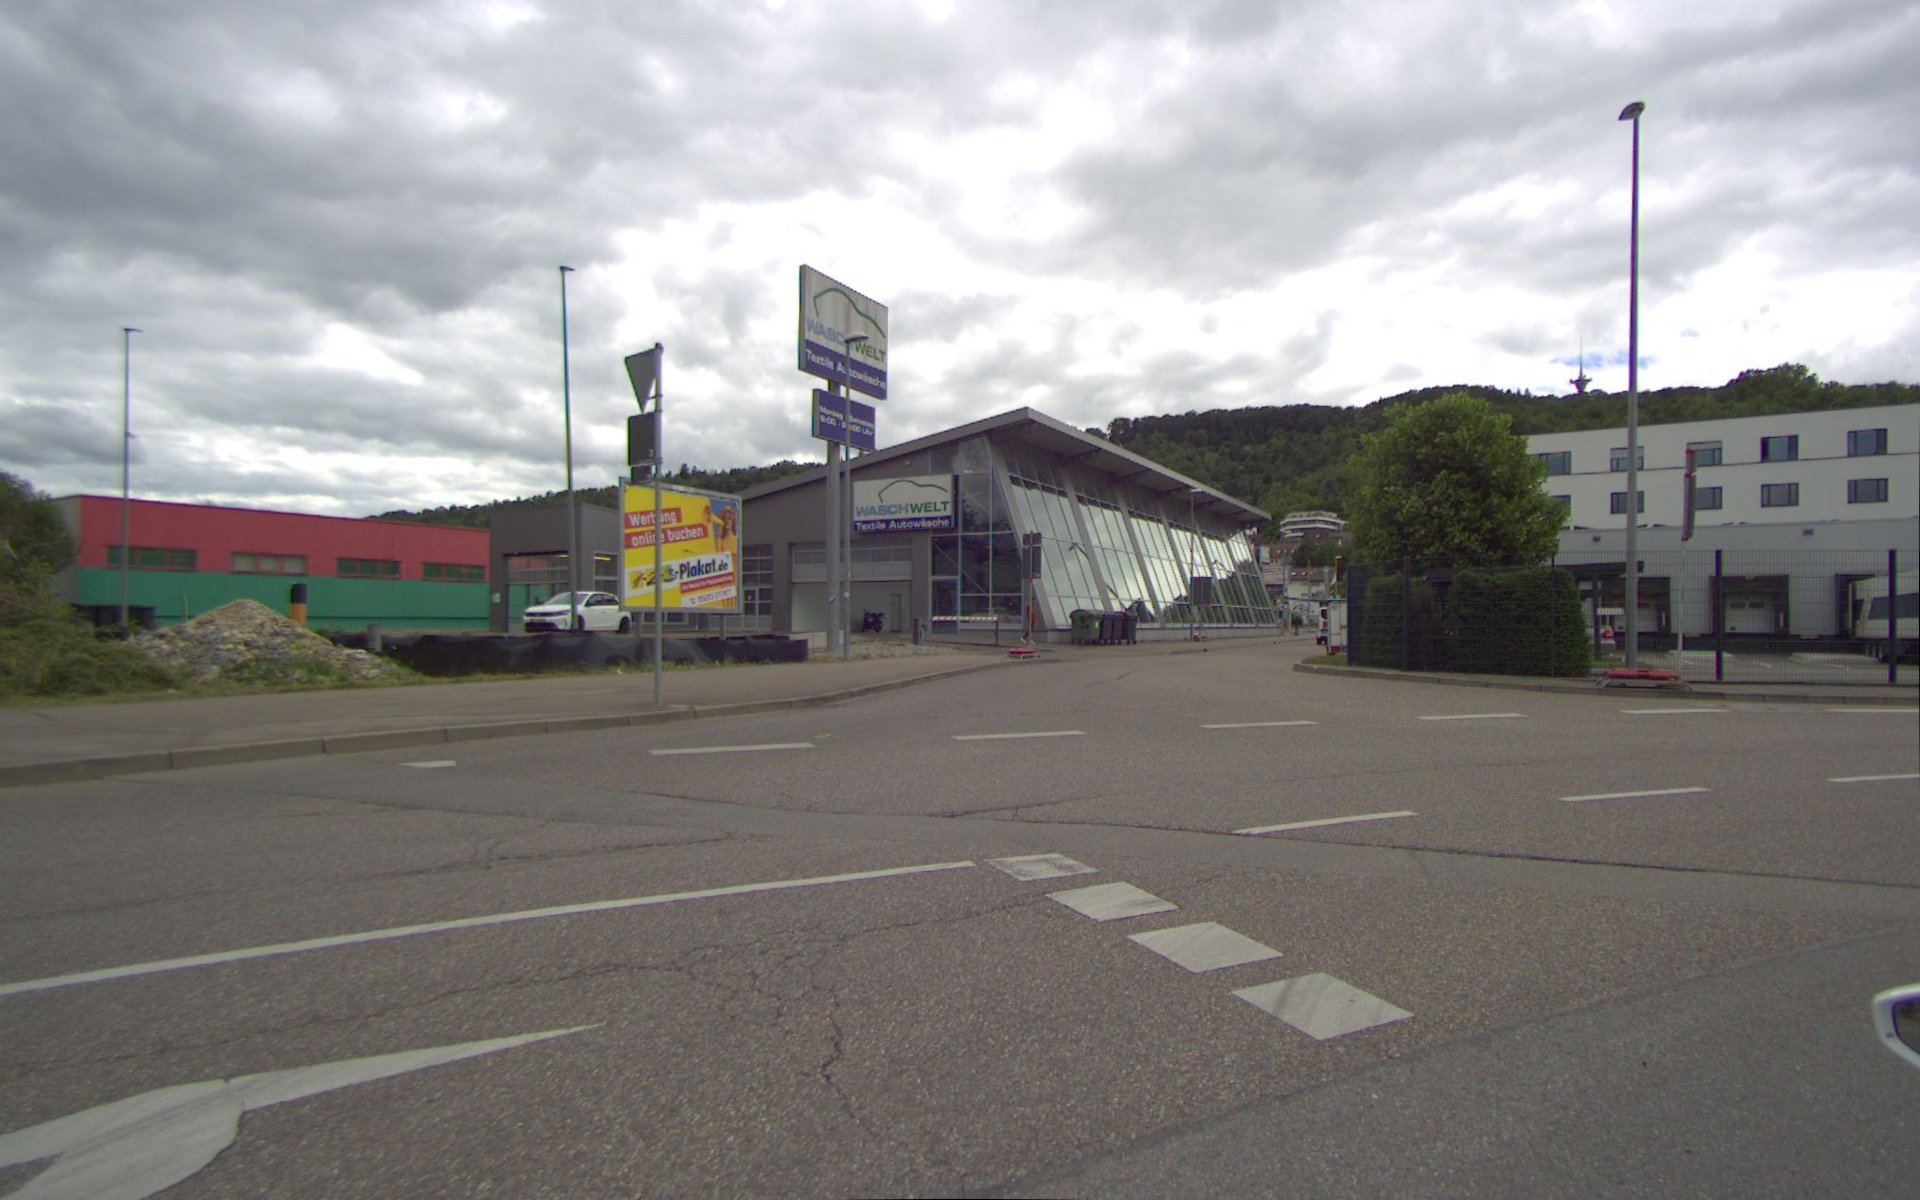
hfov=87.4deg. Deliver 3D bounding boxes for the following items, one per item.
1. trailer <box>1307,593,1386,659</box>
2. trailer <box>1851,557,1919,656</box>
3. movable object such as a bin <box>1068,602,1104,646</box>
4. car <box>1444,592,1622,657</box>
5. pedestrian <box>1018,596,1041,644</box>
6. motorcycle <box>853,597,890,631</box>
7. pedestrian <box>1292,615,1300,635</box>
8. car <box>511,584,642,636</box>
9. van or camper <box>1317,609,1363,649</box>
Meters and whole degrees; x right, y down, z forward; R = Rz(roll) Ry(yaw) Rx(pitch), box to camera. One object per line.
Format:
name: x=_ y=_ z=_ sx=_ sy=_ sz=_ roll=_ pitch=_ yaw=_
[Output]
trailer: x=12.950 y=0.816 z=33.517 sx=1.964 sy=2.040 sz=3.993 roll=0 pitch=0 yaw=29
trailer: x=44.148 y=0.385 z=45.906 sx=3.037 sy=4.132 sz=11.386 roll=0 pitch=-1 yaw=31
movable object such as a bin: x=5.116 y=0.978 z=40.755 sx=1.126 sy=1.780 sz=1.057 roll=0 pitch=-1 yaw=31
car: x=15.805 y=0.648 z=27.994 sx=4.168 sy=1.692 sz=2.072 roll=0 pitch=-1 yaw=26
pedestrian: x=2.772 y=0.803 z=39.893 sx=0.811 sy=1.893 sz=0.719 roll=-1 pitch=-1 yaw=10
motorcycle: x=-4.603 y=0.754 z=52.477 sx=0.827 sy=1.732 sz=2.361 roll=0 pitch=-1 yaw=27
pedestrian: x=28.237 y=2.082 z=84.391 sx=0.617 sy=1.695 sz=0.758 roll=0 pitch=-1 yaw=25
car: x=-12.225 y=0.315 z=32.282 sx=1.960 sy=1.556 sz=4.002 roll=0 pitch=-1 yaw=15
van or camper: x=20.857 y=1.579 z=55.048 sx=2.066 sy=2.110 sz=4.202 roll=0 pitch=-2 yaw=25
